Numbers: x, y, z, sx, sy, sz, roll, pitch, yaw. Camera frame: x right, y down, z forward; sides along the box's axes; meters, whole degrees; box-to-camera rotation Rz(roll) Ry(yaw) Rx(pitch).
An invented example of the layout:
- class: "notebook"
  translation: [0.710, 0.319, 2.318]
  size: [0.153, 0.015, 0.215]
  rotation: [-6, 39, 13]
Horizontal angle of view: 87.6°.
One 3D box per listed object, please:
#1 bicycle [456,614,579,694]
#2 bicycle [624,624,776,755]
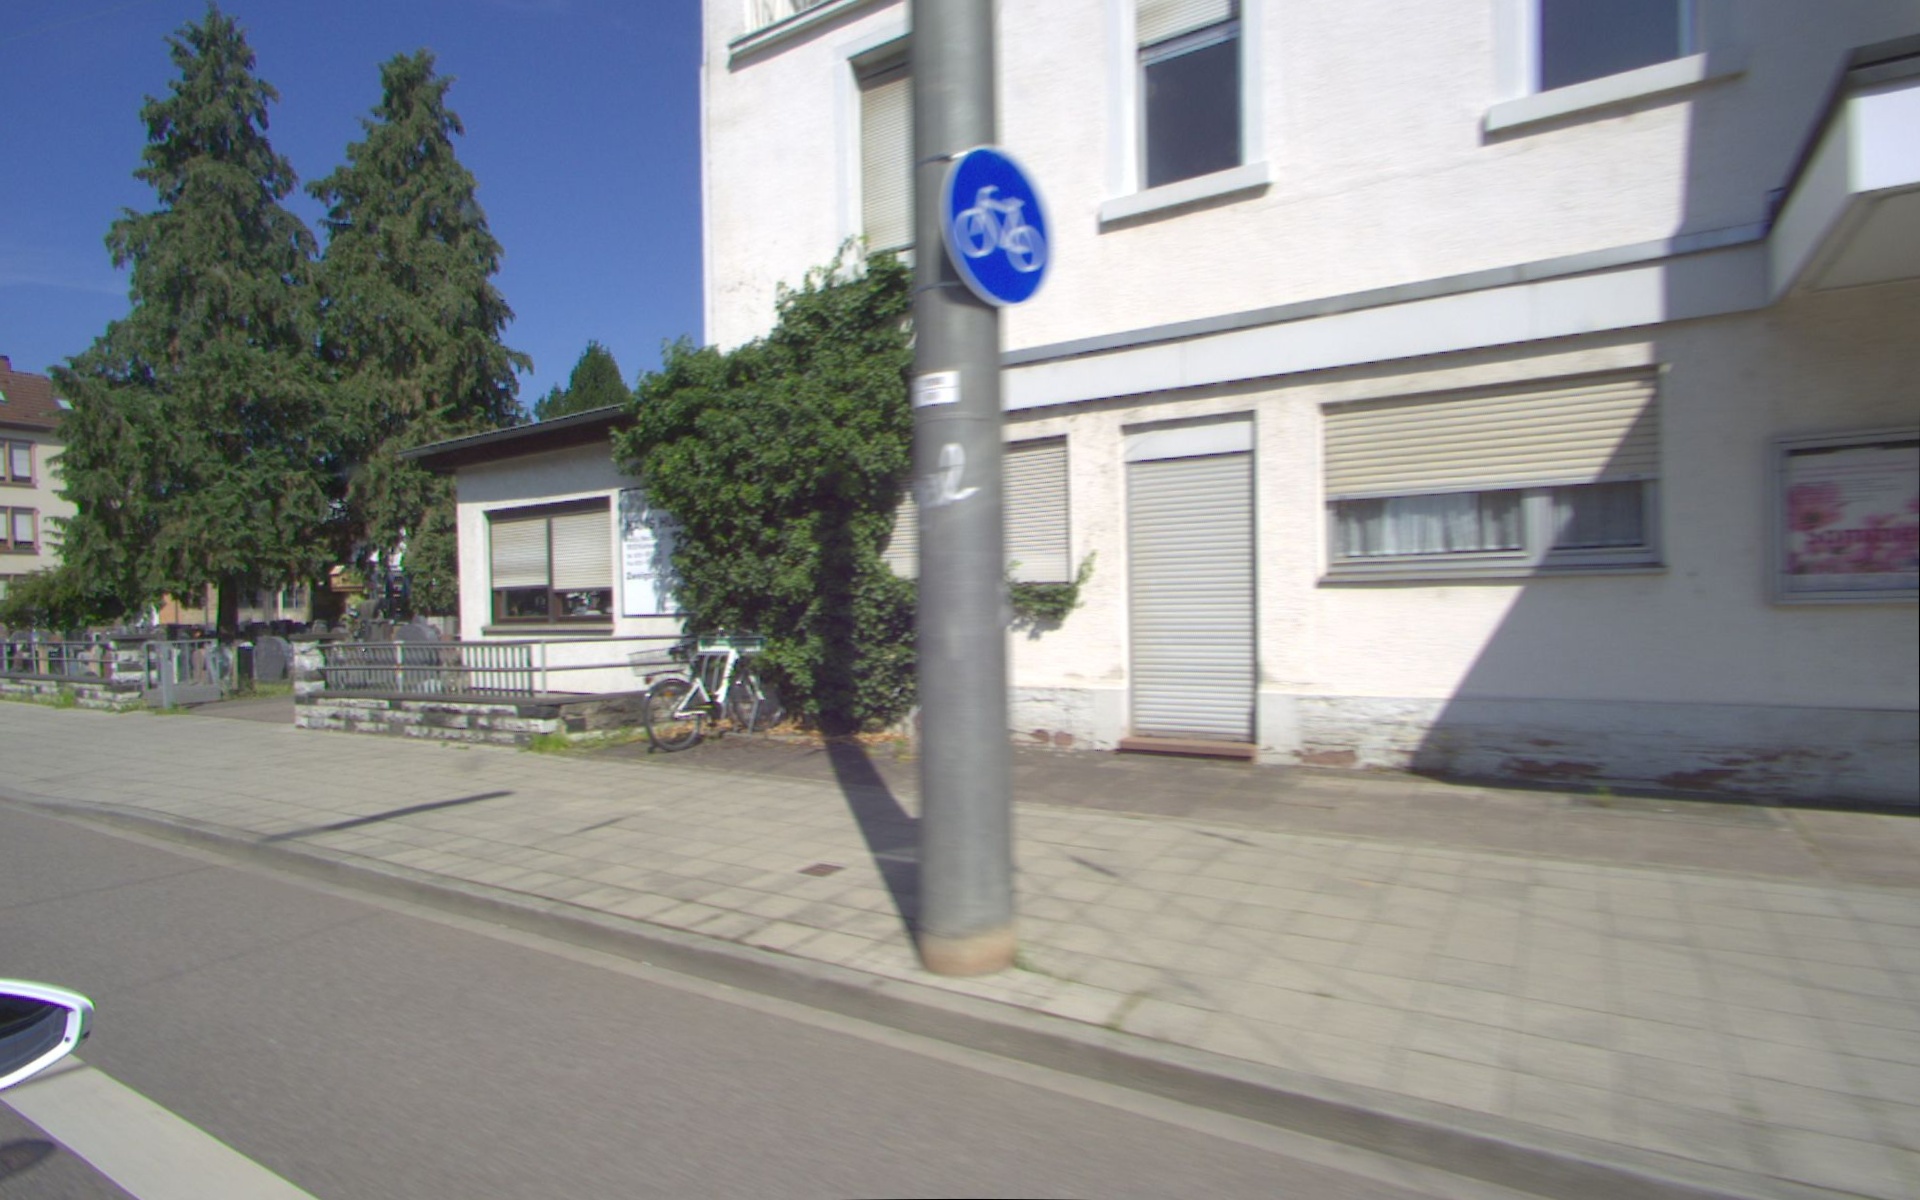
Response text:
- class: "bicycle"
  translation: [-6.864, 0.810, 15.560]
  size: [1.668, 1.126, 0.511]
  rotation: [-2, 2, -34]
- class: "bicycle"
  translation: [-2.495, 0.825, 9.784]
  size: [0.392, 1.071, 1.522]
  rotation: [0, 3, 33]
